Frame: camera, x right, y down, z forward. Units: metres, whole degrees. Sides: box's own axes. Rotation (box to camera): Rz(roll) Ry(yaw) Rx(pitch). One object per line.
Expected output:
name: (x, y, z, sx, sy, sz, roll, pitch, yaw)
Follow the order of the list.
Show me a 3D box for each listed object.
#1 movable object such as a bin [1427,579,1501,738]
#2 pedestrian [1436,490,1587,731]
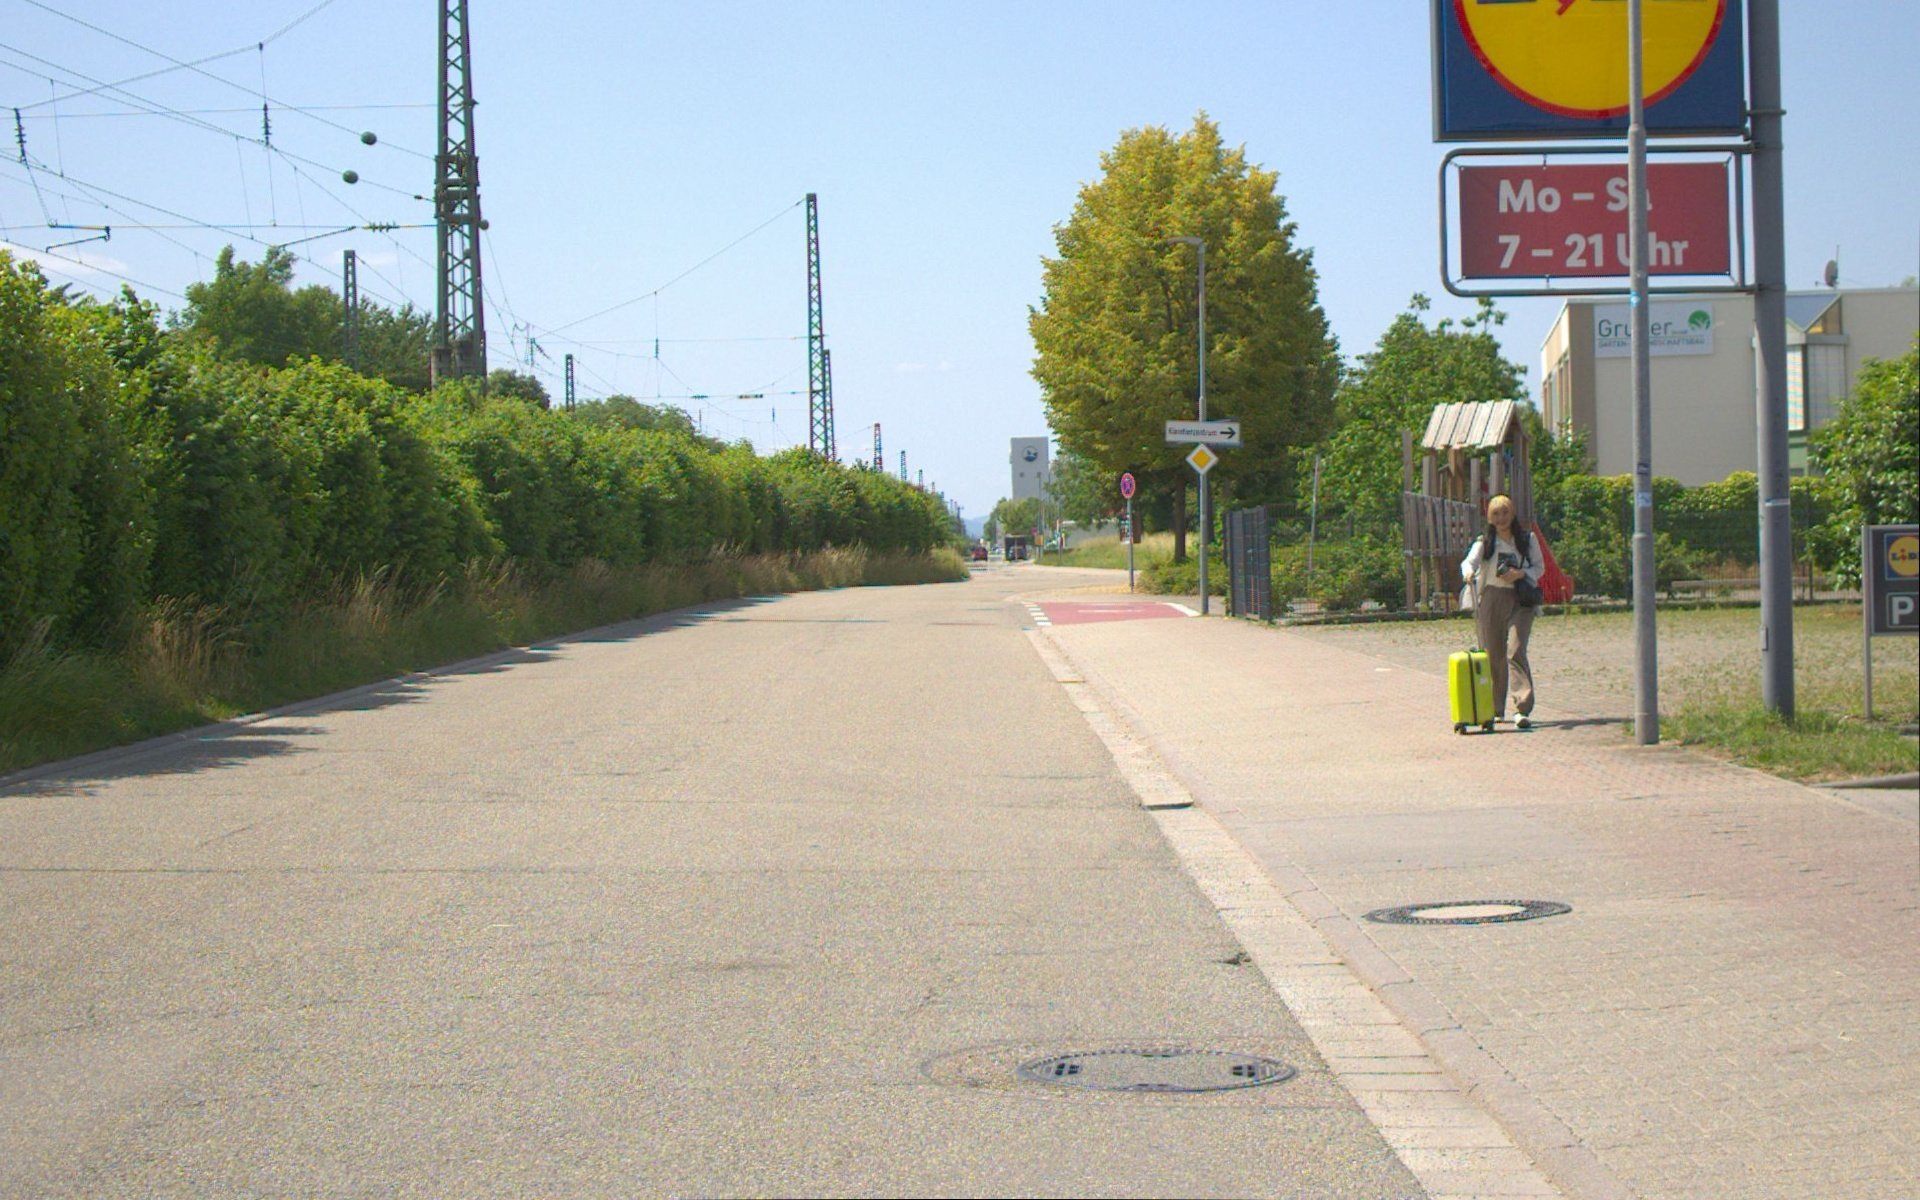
movable object such as a bin: (3.374, 0.386, 23.036, 0.374, 1.026, 0.499, -2, 2, -3)
pedestrian: (3.764, 0.059, 23.543, 0.761, 1.596, 1.210, -1, 1, -3)
